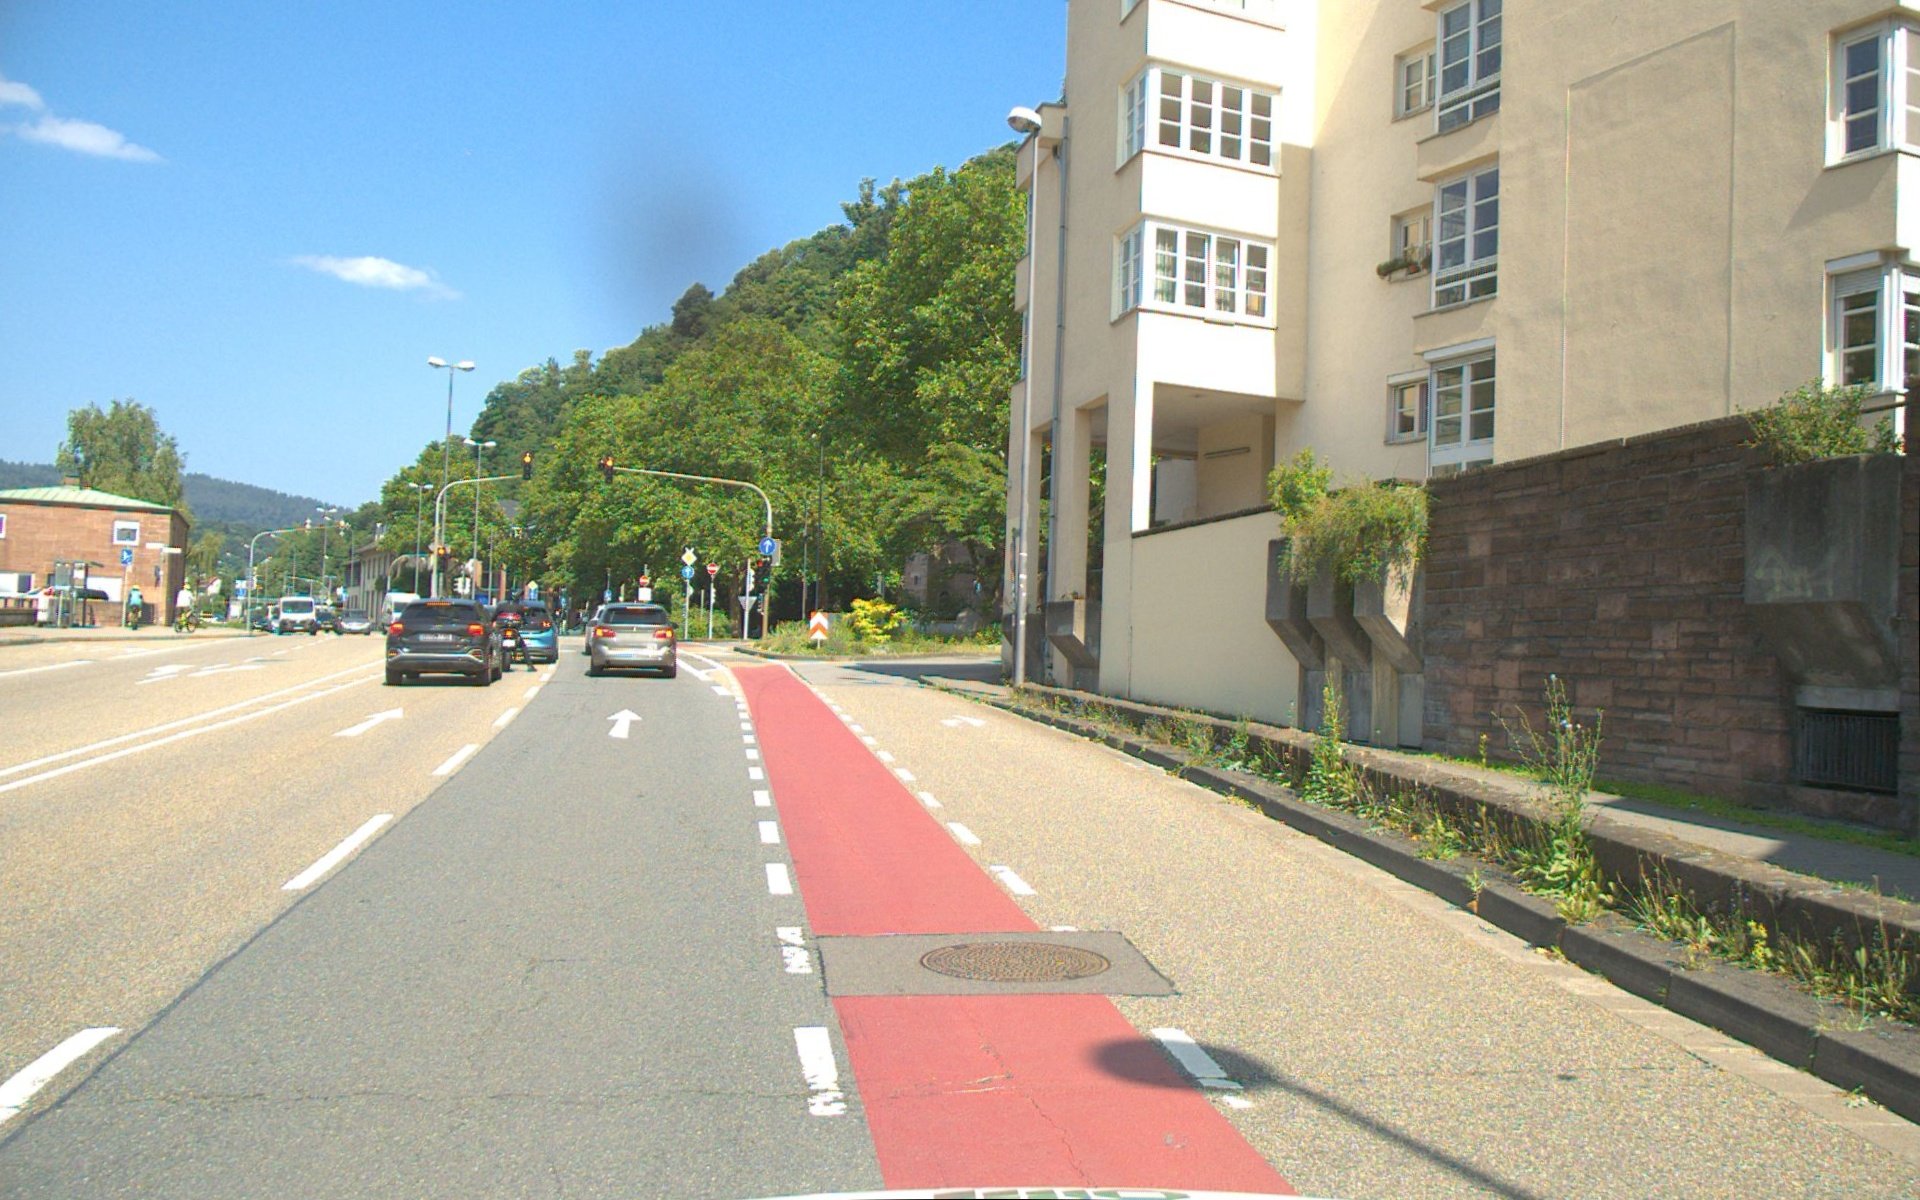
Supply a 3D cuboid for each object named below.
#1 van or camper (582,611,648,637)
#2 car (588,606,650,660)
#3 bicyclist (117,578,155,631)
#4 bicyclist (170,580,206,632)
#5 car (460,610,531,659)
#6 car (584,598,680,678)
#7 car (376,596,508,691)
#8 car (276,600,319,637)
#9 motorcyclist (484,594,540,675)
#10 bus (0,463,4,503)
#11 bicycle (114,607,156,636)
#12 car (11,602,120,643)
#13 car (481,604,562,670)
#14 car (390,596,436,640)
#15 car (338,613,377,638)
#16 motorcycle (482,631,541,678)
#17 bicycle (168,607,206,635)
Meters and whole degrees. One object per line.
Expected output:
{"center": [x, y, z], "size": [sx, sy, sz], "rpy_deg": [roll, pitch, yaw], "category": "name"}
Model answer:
{"center": [-26.024, 1.799, 124.844], "size": [4.446, 1.935, 2.001], "rpy_deg": [1, -1, 5], "category": "van or camper"}
{"center": [-10.401, 1.004, 50.445], "size": [1.754, 1.559, 4.722], "rpy_deg": [1, -1, -12], "category": "car"}
{"center": [-32.537, 0.185, 65.354], "size": [1.195, 2.049, 1.111], "rpy_deg": [1, 0, -21], "category": "bicyclist"}
{"center": [-31.171, 0.238, 66.771], "size": [1.195, 2.049, 1.111], "rpy_deg": [1, 0, -21], "category": "bicyclist"}
{"center": [-13.840, 1.011, 49.433], "size": [1.834, 1.382, 3.987], "rpy_deg": [1, 0, -13], "category": "car"}
{"center": [-7.056, 0.802, 35.822], "size": [1.854, 1.548, 4.294], "rpy_deg": [3, -1, -10], "category": "car"}
{"center": [-9.362, 0.770, 30.189], "size": [1.836, 1.540, 4.138], "rpy_deg": [3, -1, -12], "category": "car"}
{"center": [-39.272, 1.088, 98.156], "size": [2.181, 2.115, 5.014], "rpy_deg": [1, 0, -20], "category": "car"}
{"center": [-9.683, 0.734, 35.765], "size": [1.056, 1.714, 1.153], "rpy_deg": [1, -1, -11], "category": "motorcyclist"}
{"center": [-17.125, -0.644, 23.163], "size": [2.909, 3.866, 13.188], "rpy_deg": [5, -1, -15], "category": "bus"}
{"center": [-32.434, 0.832, 65.062], "size": [1.195, 1.109, 2.581], "rpy_deg": [1, 0, -21], "category": "bicycle"}
{"center": [-46.640, 1.195, 86.268], "size": [1.960, 2.049, 4.600], "rpy_deg": [0, -1, 36], "category": "car"}
{"center": [-11.135, 0.902, 42.190], "size": [1.834, 1.589, 3.987], "rpy_deg": [1, 0, -13], "category": "car"}
{"center": [-34.172, 1.114, 103.300], "size": [2.350, 2.622, 6.015], "rpy_deg": [1, -1, -22], "category": "car"}
{"center": [-36.397, 1.532, 99.936], "size": [1.962, 1.457, 4.147], "rpy_deg": [1, 0, -17], "category": "car"}
{"center": [-9.720, 1.164, 35.918], "size": [1.019, 0.936, 2.598], "rpy_deg": [1, 0, -11], "category": "motorcycle"}
{"center": [-31.198, 0.838, 66.773], "size": [1.195, 1.109, 2.581], "rpy_deg": [1, 0, -21], "category": "bicycle"}
